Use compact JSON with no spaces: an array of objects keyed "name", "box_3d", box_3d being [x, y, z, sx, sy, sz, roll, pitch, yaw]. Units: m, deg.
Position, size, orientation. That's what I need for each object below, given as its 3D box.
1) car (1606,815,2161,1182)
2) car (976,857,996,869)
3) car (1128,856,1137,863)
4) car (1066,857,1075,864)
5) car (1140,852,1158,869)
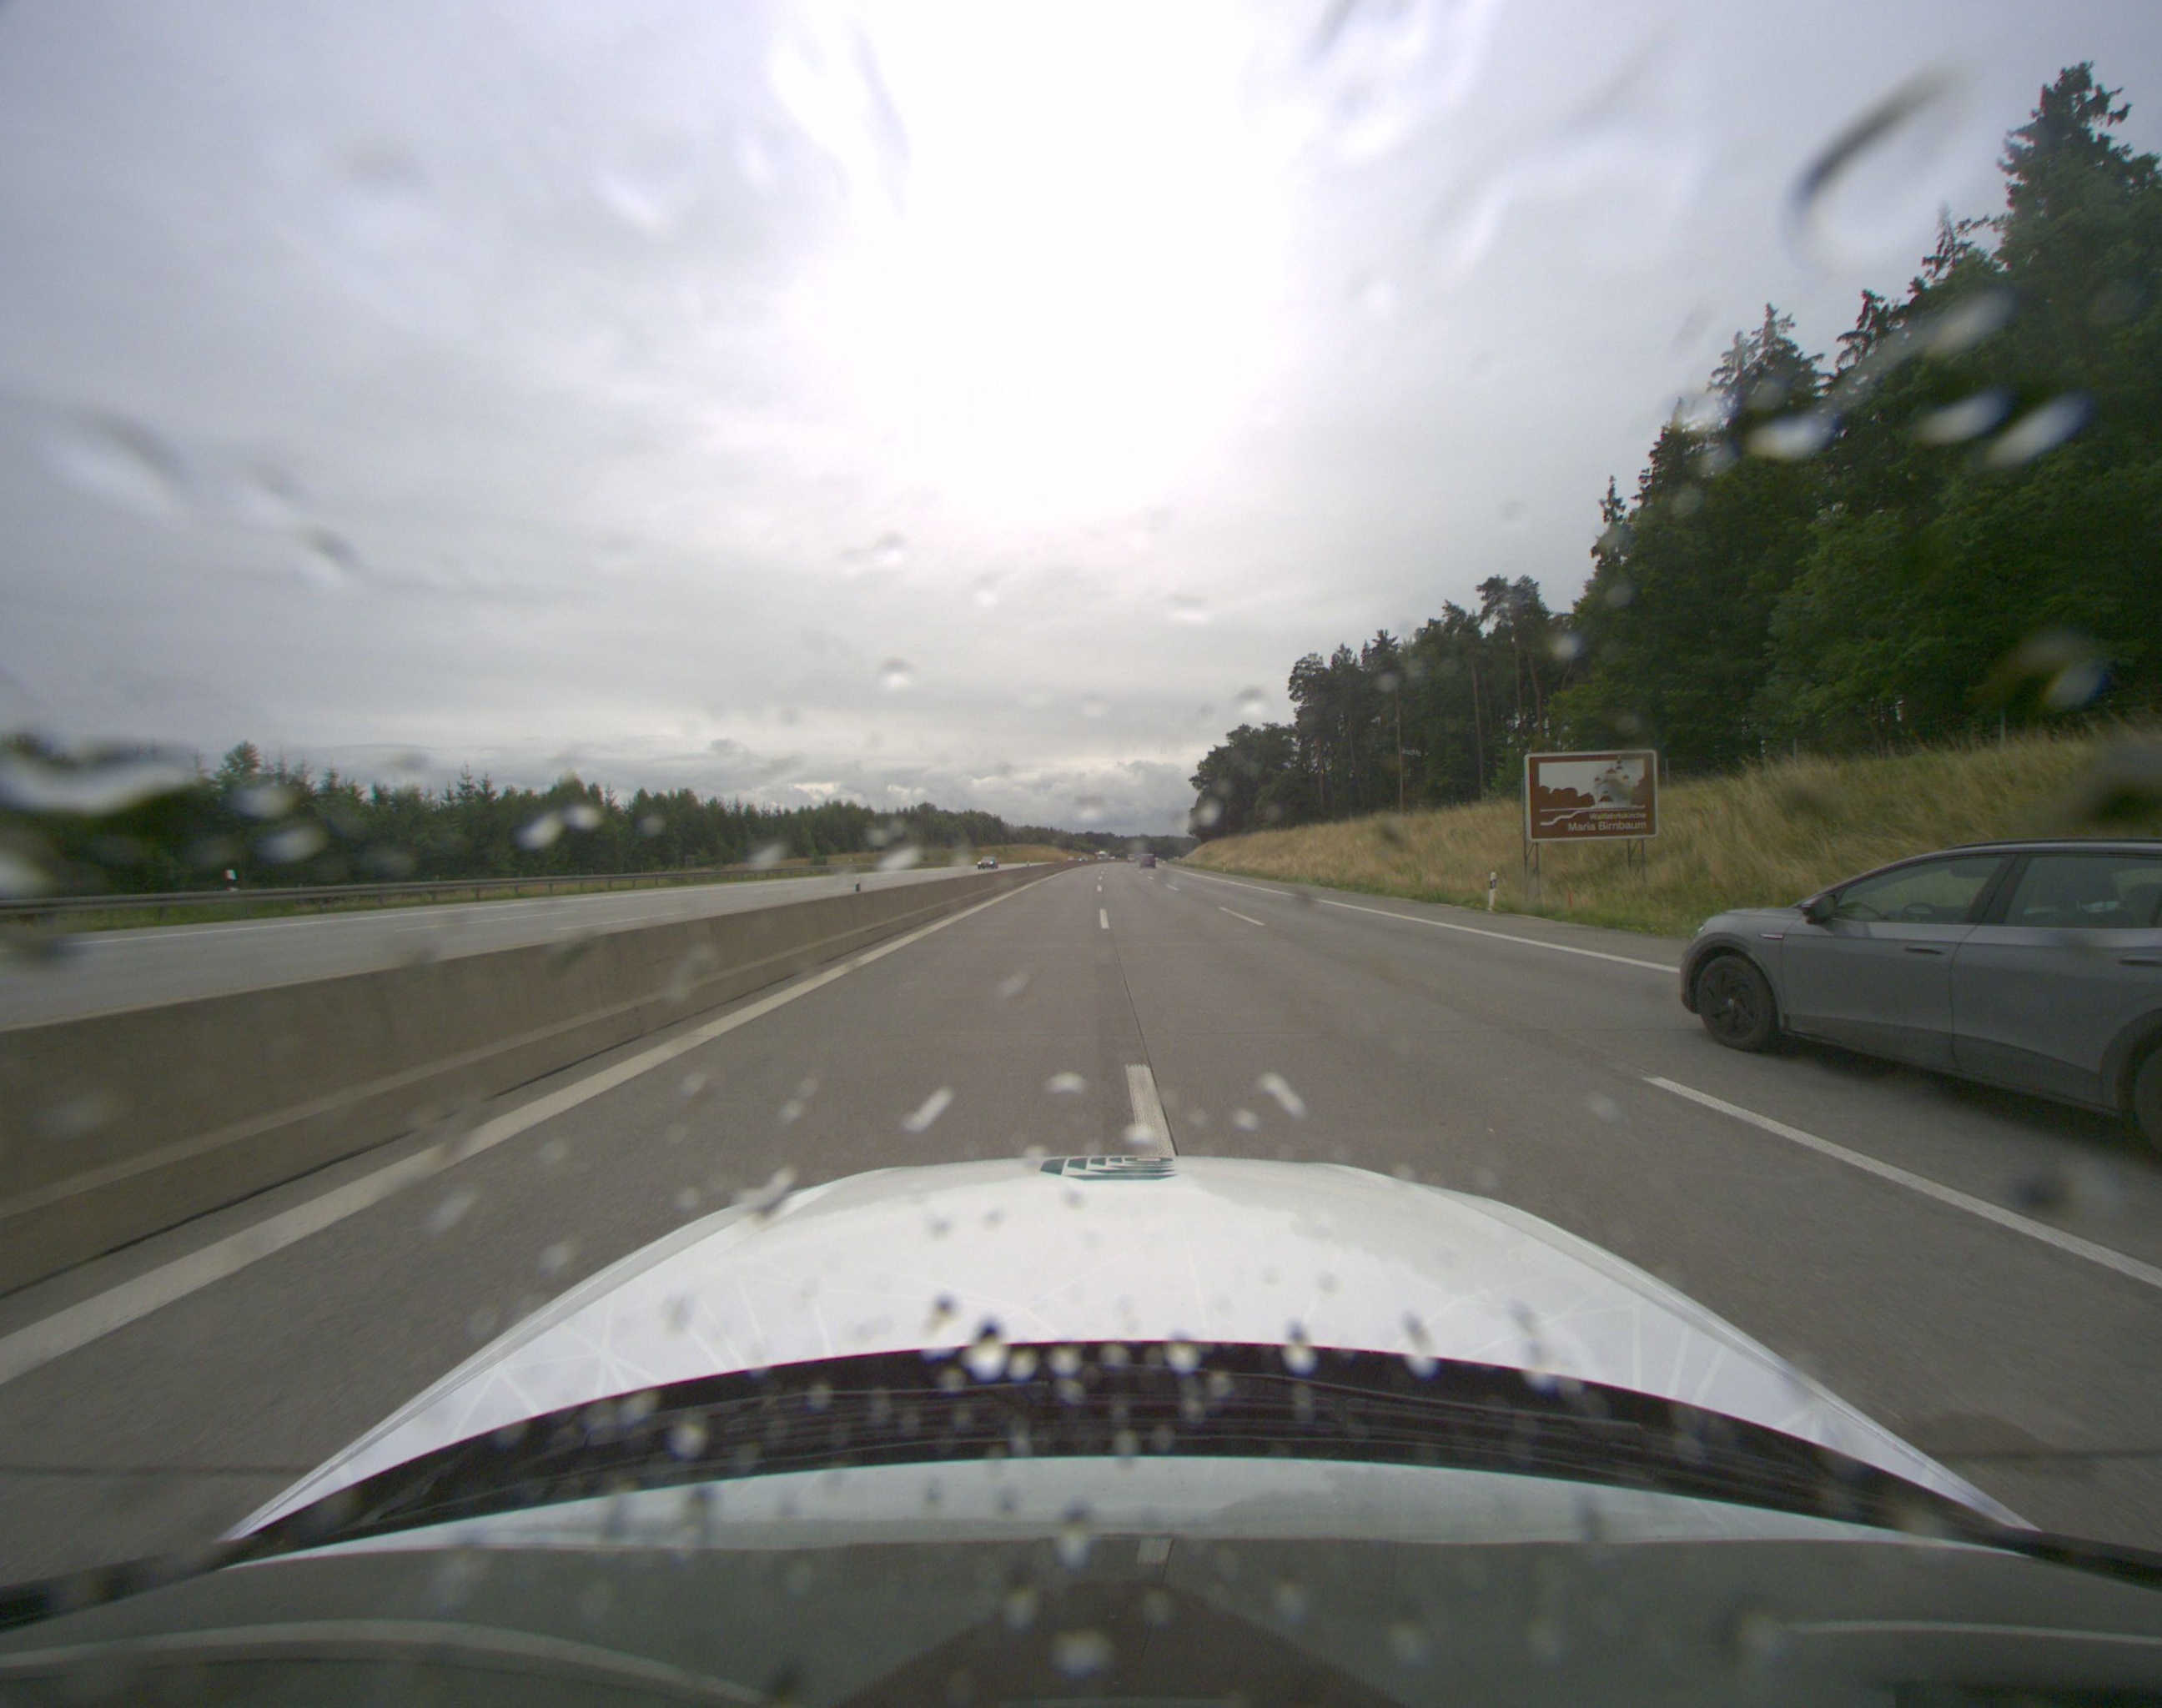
[{"name":"car","box_3d":[5.940,0.641,5.180,1.891,1.689,5.267,0,1,1]},{"name":"car","box_3d":[-10.866,1.024,93.643,1.761,1.232,3.955,0,1,1]},{"name":"car","box_3d":[12.191,1.344,192.655,1.835,1.500,4.001,-4,1,1]},{"name":"car","box_3d":[-2.549,1.636,205.813,1.942,1.617,4.003,-4,1,3]},{"name":"car","box_3d":[8.096,0.785,97.778,1.779,1.746,3.915,-4,1,1]}]
